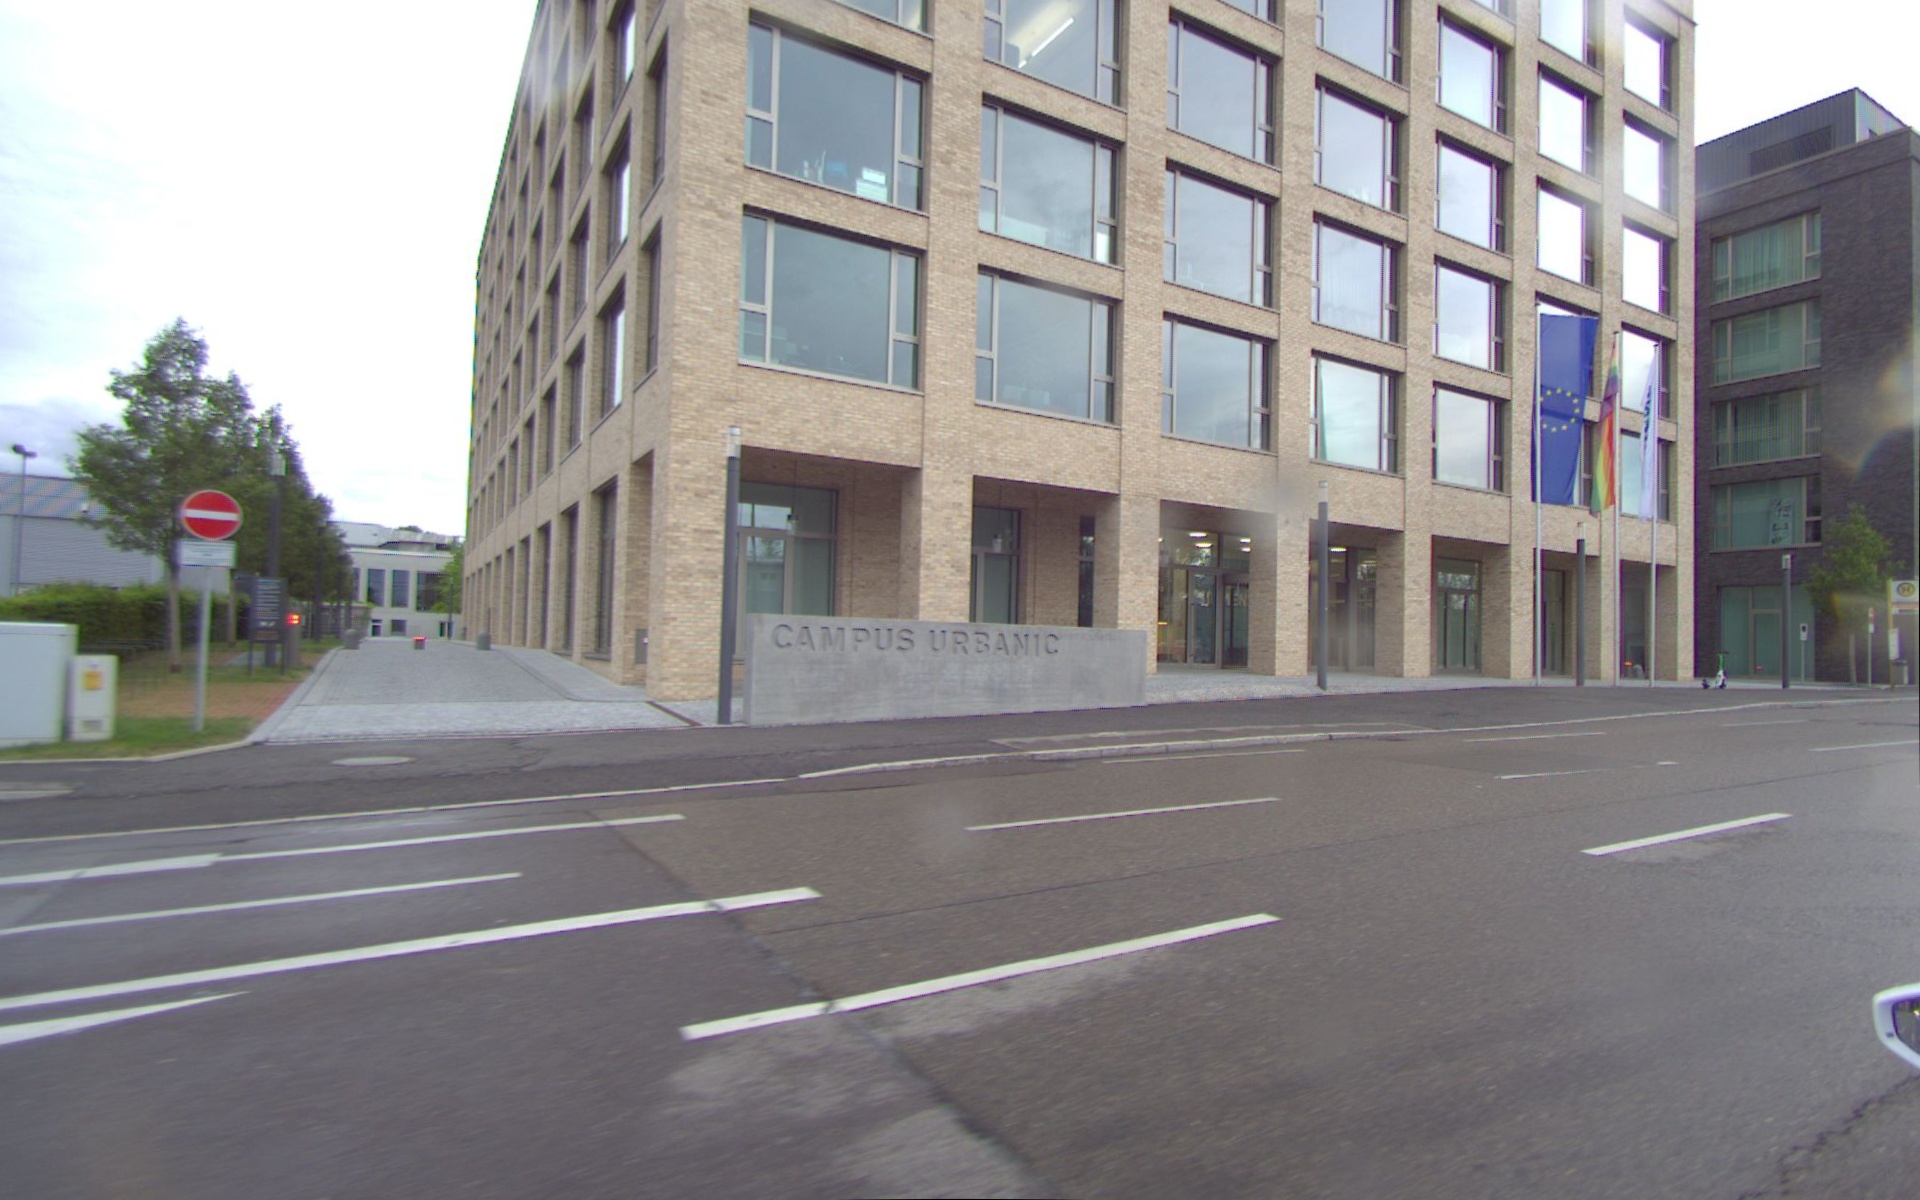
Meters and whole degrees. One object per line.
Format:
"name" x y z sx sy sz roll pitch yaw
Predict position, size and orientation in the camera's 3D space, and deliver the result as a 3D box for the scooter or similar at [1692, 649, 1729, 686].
"scooter or similar" 22.837 2.057 30.555 1.411 1.085 0.349 3 -2 -30
